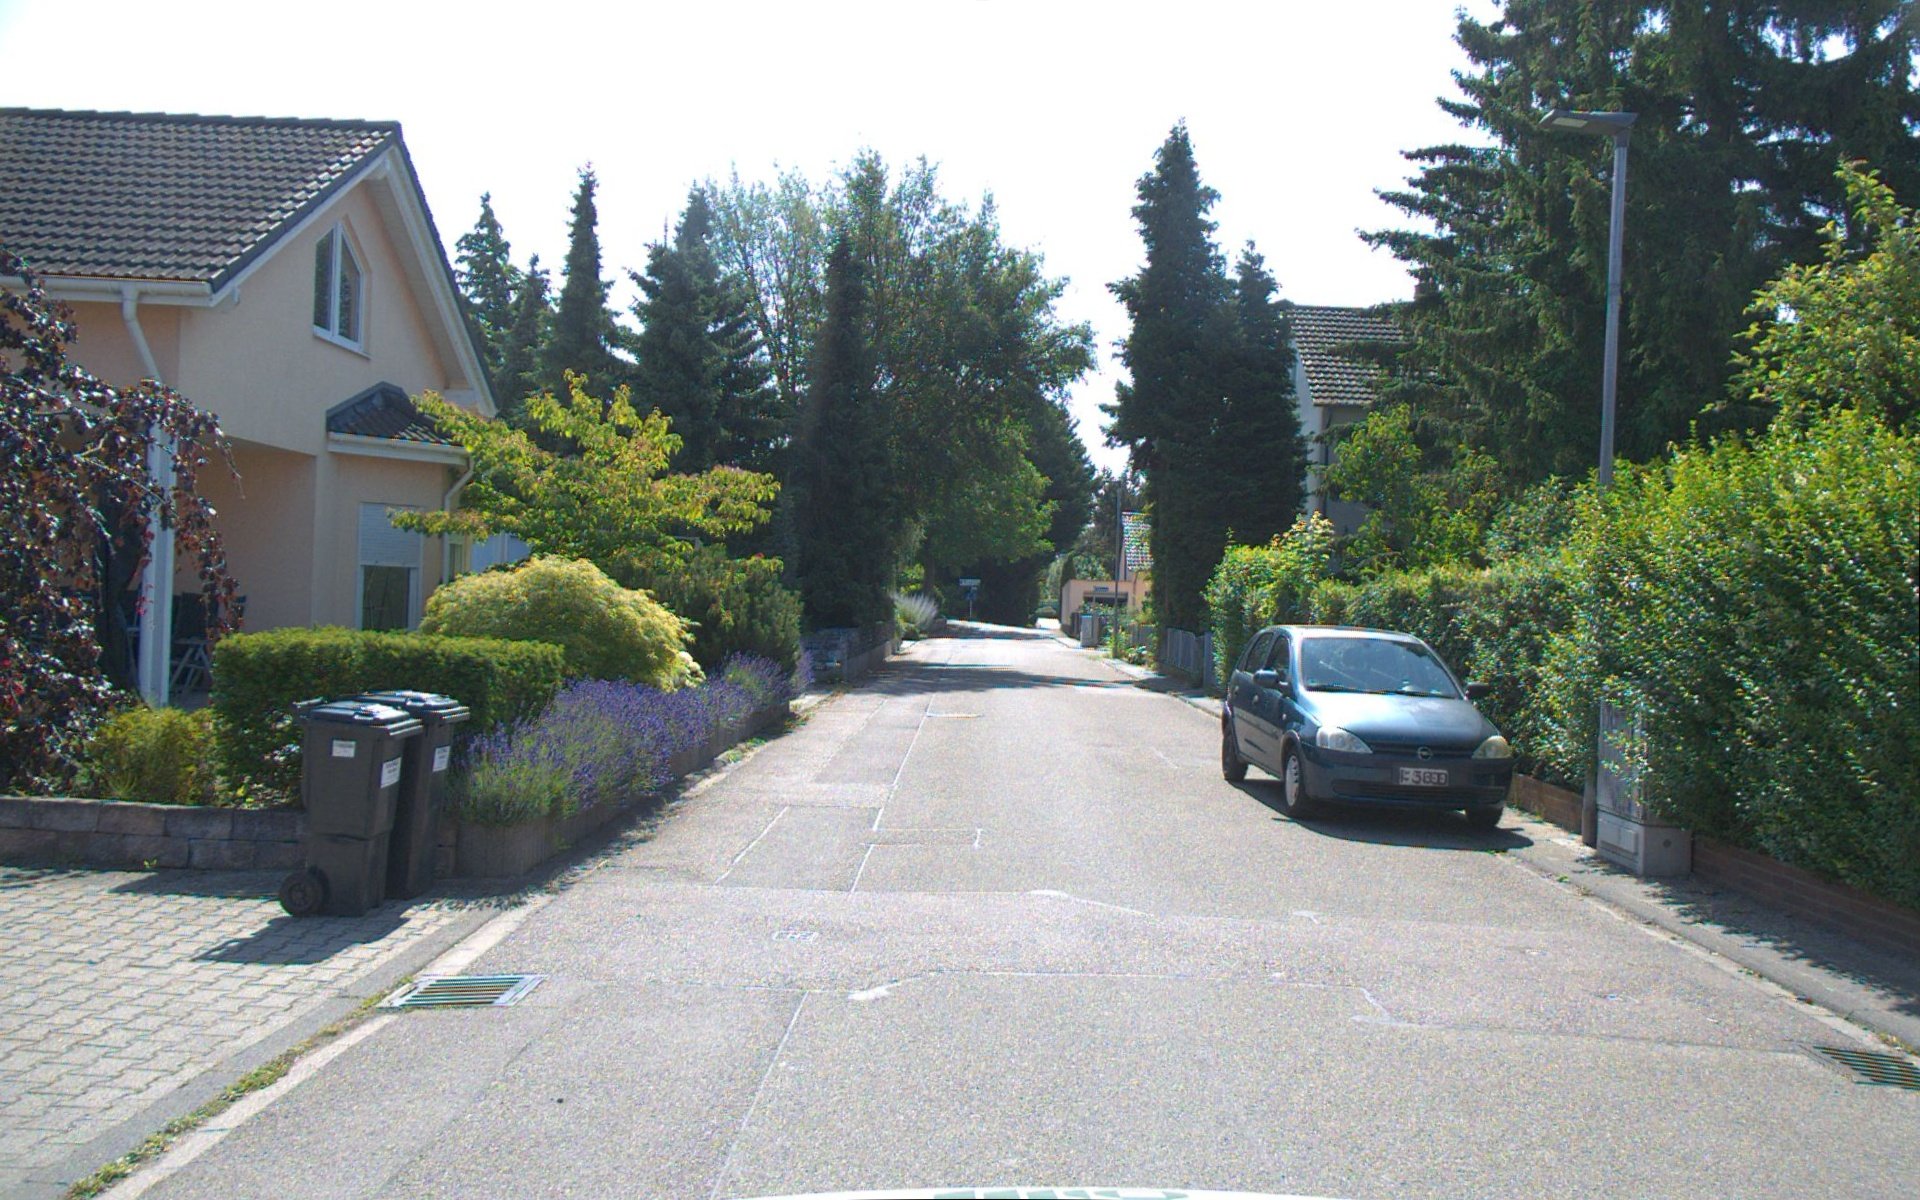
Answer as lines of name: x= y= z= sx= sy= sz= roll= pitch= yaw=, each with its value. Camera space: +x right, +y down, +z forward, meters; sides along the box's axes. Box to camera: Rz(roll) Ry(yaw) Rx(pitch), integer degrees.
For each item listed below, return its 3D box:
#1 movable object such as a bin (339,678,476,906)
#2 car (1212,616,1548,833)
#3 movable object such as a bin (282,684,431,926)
movable object such as a bin: x=-2.682 y=0.921 z=8.059 sx=0.484 sy=1.042 sz=0.447 roll=2 pitch=0 yaw=1
car: x=3.269 y=0.897 z=13.666 sx=1.668 sy=1.424 sz=3.999 roll=3 pitch=0 yaw=-1
movable object such as a bin: x=-2.763 y=0.924 z=7.597 sx=0.484 sy=1.042 sz=0.447 roll=2 pitch=0 yaw=1
